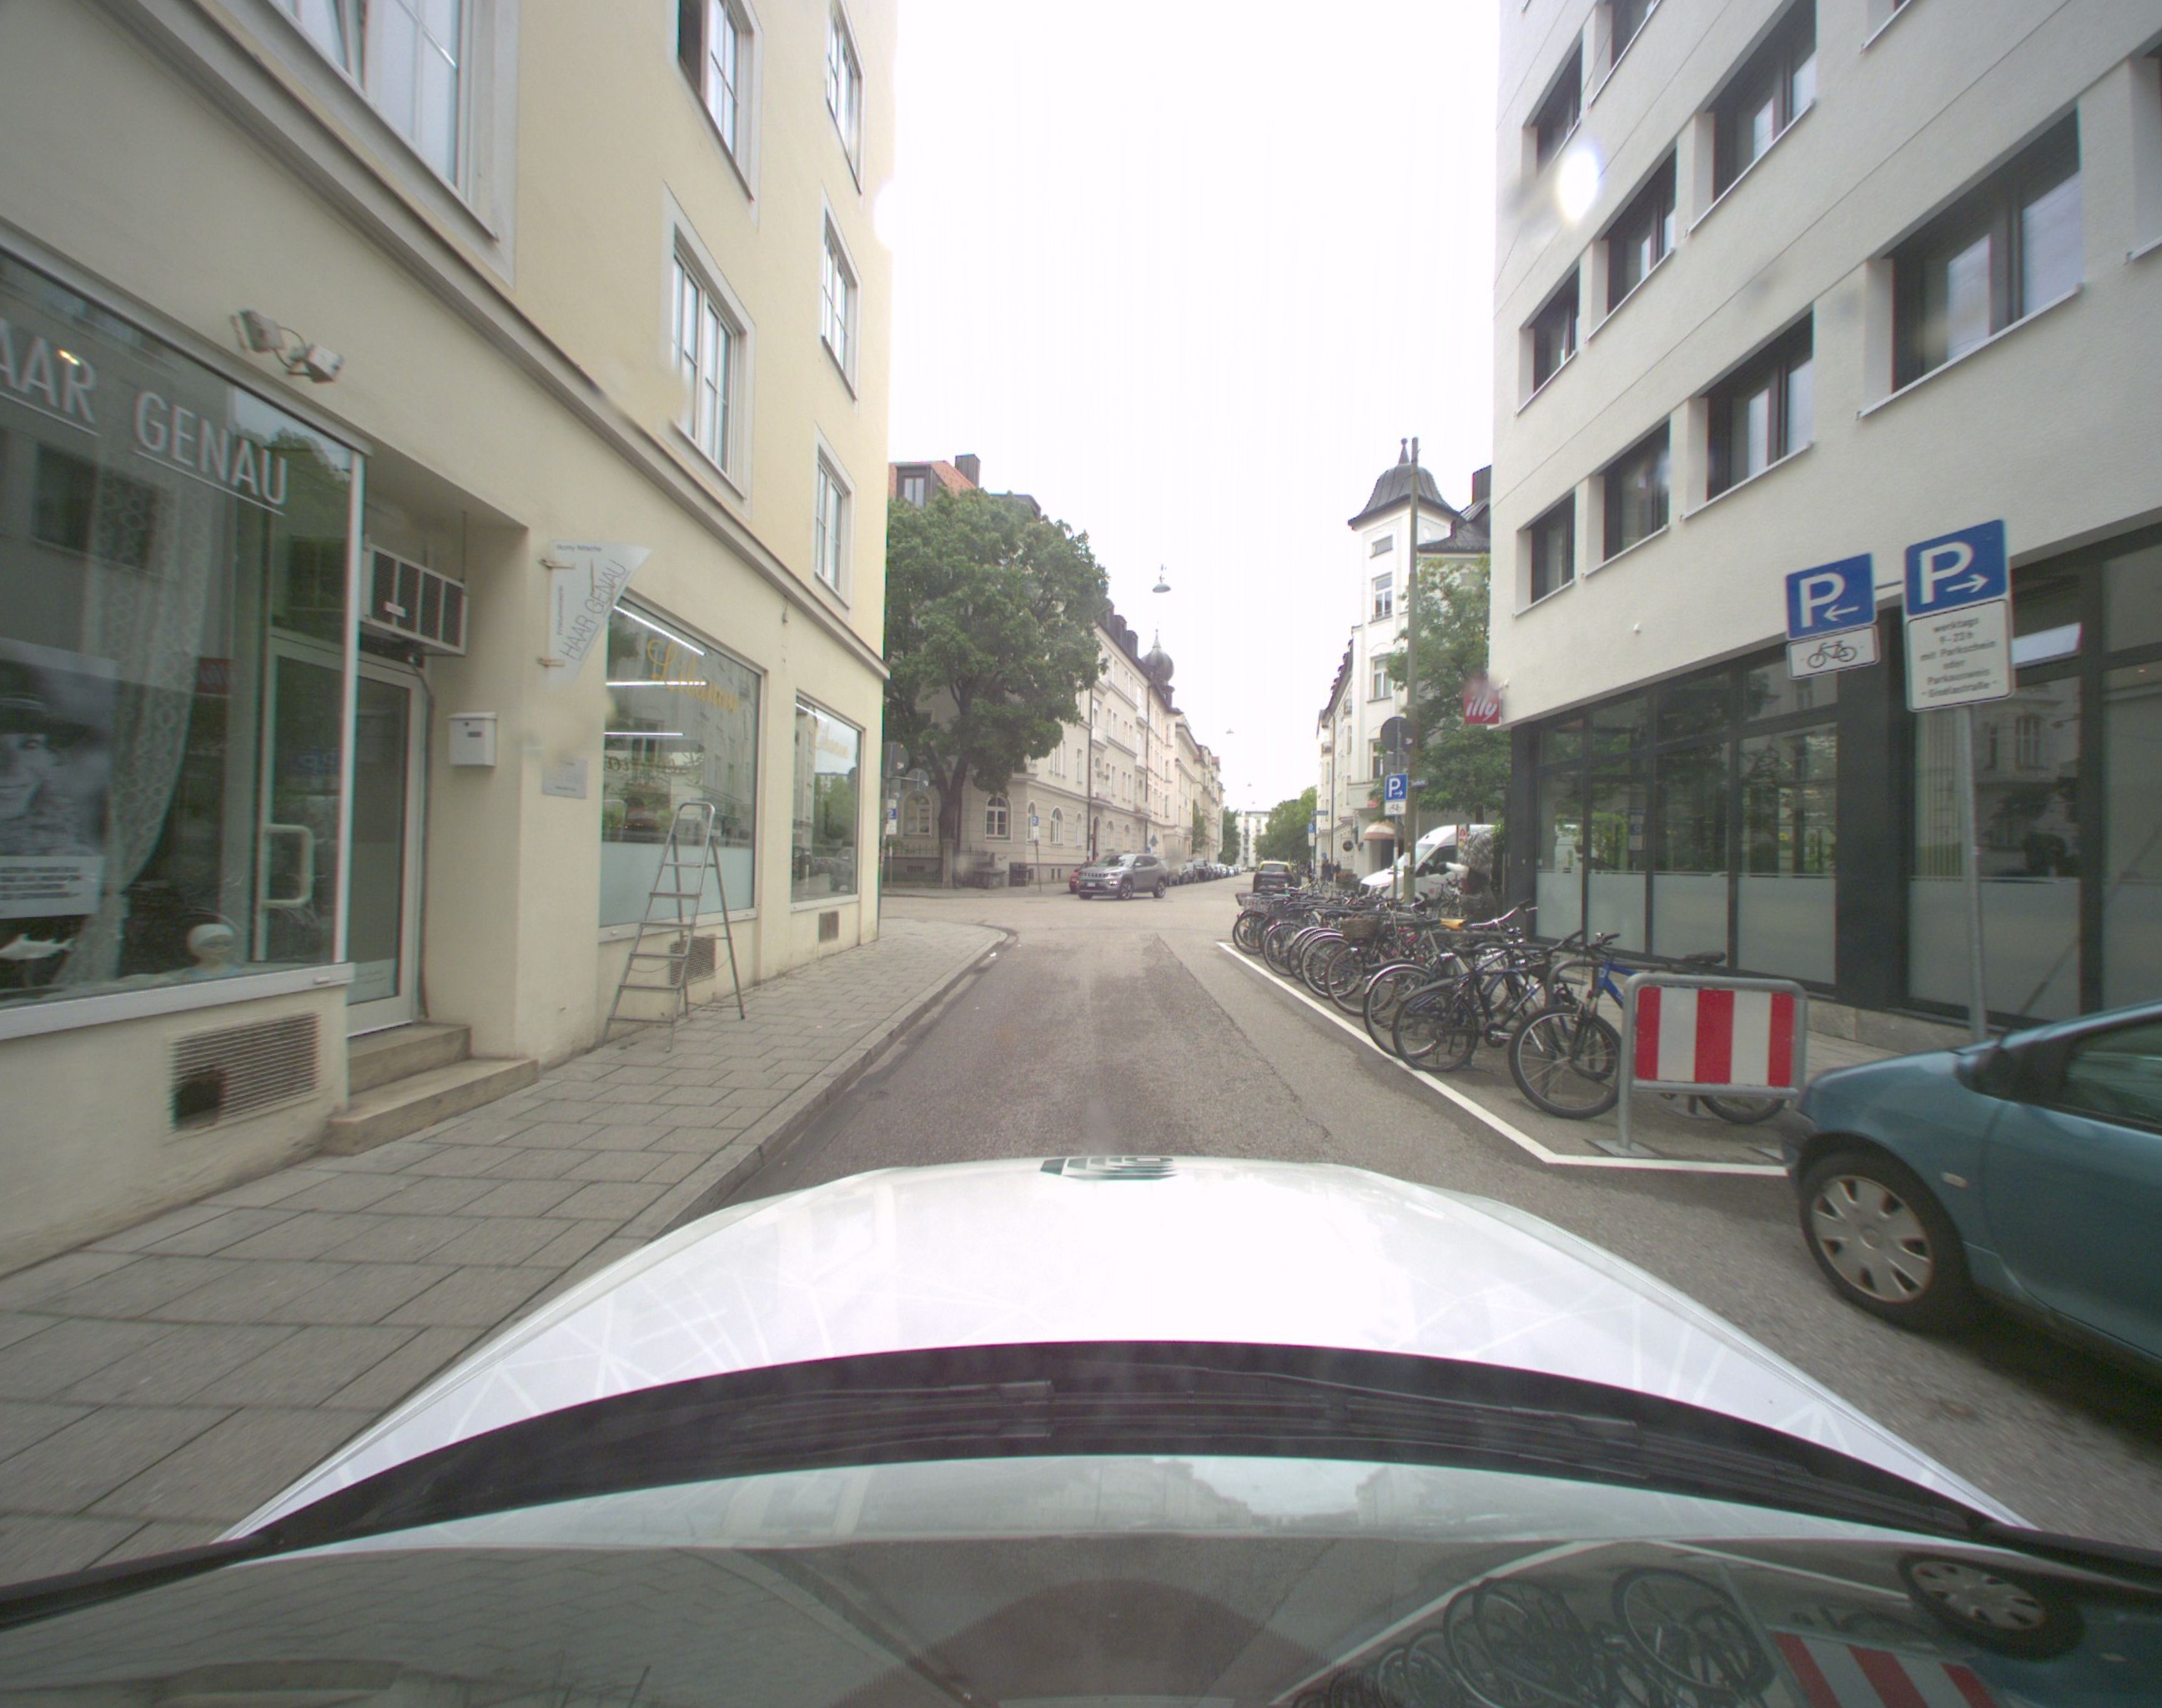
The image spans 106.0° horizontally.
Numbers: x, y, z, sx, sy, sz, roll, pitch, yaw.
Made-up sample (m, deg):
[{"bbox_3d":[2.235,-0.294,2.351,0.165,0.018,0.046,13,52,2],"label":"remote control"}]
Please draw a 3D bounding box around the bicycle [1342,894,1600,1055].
[{"bbox_3d":[3.146,0.960,6.640,1.868,1.204,0.488,1,1,-2],"label":"bicycle"}]

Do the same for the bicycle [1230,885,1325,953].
[{"bbox_3d":[3.265,1.078,13.538,1.449,1.069,0.462,2,-1,-7],"label":"bicycle"}]

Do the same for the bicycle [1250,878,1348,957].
[{"bbox_3d":[3.497,1.015,13.086,1.449,1.207,0.394,2,-1,-7],"label":"bicycle"}]

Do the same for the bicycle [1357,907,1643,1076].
[{"bbox_3d":[3.109,1.011,6.119,1.868,1.108,0.488,3,1,-2],"label":"bicycle"}]

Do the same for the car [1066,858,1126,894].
[{"bbox_3d":[0.707,0.911,34.721,1.719,1.378,4.241,1,0,13],"label":"car"}]

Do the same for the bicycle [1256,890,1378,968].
[{"bbox_3d":[3.432,1.084,11.888,1.670,1.080,0.336,1,1,-3],"label":"bicycle"}]

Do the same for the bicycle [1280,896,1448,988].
[{"bbox_3d":[3.425,1.057,9.926,1.869,1.052,0.563,1,-2,-3],"label":"bicycle"}]

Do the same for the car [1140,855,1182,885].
[{"bbox_3d":[4.888,0.929,49.154,1.980,1.676,4.303,1,0,12],"label":"car"}]

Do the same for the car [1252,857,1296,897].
[{"bbox_3d":[8.932,1.040,37.531,1.807,1.636,4.305,3,0,15],"label":"car"}]

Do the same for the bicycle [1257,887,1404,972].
[{"bbox_3d":[3.370,1.017,11.064,1.869,1.080,0.408,1,1,-3],"label":"bicycle"}]

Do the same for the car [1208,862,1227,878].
[{"bbox_3d":[14.815,1.710,88.058,1.808,1.574,4.013,1,0,12],"label":"car"}]

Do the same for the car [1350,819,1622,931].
[{"bbox_3d":[10.137,0.484,20.836,5.864,2.591,2.063,1,1,5],"label":"car"}]

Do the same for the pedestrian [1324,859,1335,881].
[{"bbox_3d":[21.492,1.377,70.375,0.771,1.851,0.864,1,-1,22],"label":"pedestrian"}]

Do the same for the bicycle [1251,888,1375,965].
[{"bbox_3d":[3.495,1.089,12.302,1.736,1.080,0.452,1,1,-3],"label":"bicycle"}]

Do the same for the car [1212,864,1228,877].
[{"bbox_3d":[16.068,1.892,93.904,1.722,1.420,4.012,1,0,11],"label":"car"}]

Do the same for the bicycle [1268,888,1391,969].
[{"bbox_3d":[3.495,1.042,11.503,1.609,1.080,0.377,1,1,-3],"label":"bicycle"}]

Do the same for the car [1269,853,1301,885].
[{"bbox_3d":[13.302,0.962,53.004,1.807,1.923,4.199,3,0,14],"label":"car"}]

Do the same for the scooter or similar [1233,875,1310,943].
[{"bbox_3d":[3.584,1.026,15.343,1.347,1.210,0.418,1,-1,2],"label":"scooter or similar"}]

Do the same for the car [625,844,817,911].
[{"bbox_3d":[-9.657,0.591,22.054,4.316,1.515,1.905,2,3,3],"label":"car"}]

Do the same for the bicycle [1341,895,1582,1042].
[{"bbox_3d":[3.380,1.007,7.321,1.868,1.157,0.565,3,1,-2],"label":"bicycle"}]

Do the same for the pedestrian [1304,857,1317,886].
[{"bbox_3d":[14.695,1.105,52.141,0.772,1.851,1.027,1,-1,15],"label":"pedestrian"}]

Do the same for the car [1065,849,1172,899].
[{"bbox_3d":[1.434,0.682,28.904,1.938,1.607,4.335,1,0,31],"label":"car"}]

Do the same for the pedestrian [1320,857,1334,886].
[{"bbox_3d":[15.529,1.094,51.449,0.772,1.851,1.027,1,-1,15],"label":"pedestrian"}]

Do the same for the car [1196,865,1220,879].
[{"bbox_3d":[12.017,1.669,76.776,1.893,1.222,4.014,1,0,13],"label":"car"}]

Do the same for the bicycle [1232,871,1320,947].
[{"bbox_3d":[3.470,0.973,14.547,1.451,1.285,0.445,2,-1,2],"label":"bicycle"}]

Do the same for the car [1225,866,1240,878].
[{"bbox_3d":[21.331,2.470,114.527,1.980,1.574,4.013,1,0,12],"label":"car"}]

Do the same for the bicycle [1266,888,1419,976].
[{"bbox_3d":[3.399,1.004,10.625,1.869,1.080,0.402,1,1,-3],"label":"bicycle"}]

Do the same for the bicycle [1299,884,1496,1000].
[{"bbox_3d":[3.347,0.918,8.682,1.888,1.170,0.565,1,0,-2],"label":"bicycle"}]

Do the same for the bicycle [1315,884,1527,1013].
[{"bbox_3d":[3.326,0.910,8.054,1.868,1.204,0.579,0,0,-2],"label":"bicycle"}]

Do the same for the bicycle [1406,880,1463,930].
[{"bbox_3d":[8.274,1.190,19.078,1.171,1.127,0.340,1,-1,7],"label":"bicycle"}]

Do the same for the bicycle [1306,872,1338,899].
[{"bbox_3d":[9.899,1.278,33.462,0.539,0.999,1.750,-2,0,-9],"label":"bicycle"}]

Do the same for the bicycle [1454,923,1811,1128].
[{"bbox_3d":[3.386,1.040,5.072,1.868,1.079,0.488,3,1,-2],"label":"bicycle"}]

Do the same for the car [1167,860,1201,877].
[{"bbox_3d":[7.735,1.066,60.881,1.892,1.222,4.016,1,0,15],"label":"car"}]

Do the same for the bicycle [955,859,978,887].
[{"bbox_3d":[-4.656,0.771,33.273,0.491,1.052,1.830,1,2,6],"label":"bicycle"}]

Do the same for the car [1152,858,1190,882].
[{"bbox_3d":[6.138,1.047,55.032,1.911,1.546,4.016,1,0,15],"label":"car"}]

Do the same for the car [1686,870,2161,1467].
[{"bbox_3d":[3.499,0.813,1.867,1.575,1.464,3.550,1,0,-1],"label":"car"}]

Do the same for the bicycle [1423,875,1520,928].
[{"bbox_3d":[8.824,1.057,18.454,1.892,1.127,0.593,1,-1,5],"label":"bicycle"}]

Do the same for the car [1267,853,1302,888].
[{"bbox_3d":[11.919,0.934,47.705,1.807,1.871,4.305,3,0,15],"label":"car"}]

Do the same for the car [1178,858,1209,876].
[{"bbox_3d":[9.056,1.019,65.313,1.892,1.329,4.016,1,0,15],"label":"car"}]

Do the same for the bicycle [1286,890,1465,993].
[{"bbox_3d":[3.318,0.981,9.224,1.869,1.095,0.439,1,1,-3],"label":"bicycle"}]
